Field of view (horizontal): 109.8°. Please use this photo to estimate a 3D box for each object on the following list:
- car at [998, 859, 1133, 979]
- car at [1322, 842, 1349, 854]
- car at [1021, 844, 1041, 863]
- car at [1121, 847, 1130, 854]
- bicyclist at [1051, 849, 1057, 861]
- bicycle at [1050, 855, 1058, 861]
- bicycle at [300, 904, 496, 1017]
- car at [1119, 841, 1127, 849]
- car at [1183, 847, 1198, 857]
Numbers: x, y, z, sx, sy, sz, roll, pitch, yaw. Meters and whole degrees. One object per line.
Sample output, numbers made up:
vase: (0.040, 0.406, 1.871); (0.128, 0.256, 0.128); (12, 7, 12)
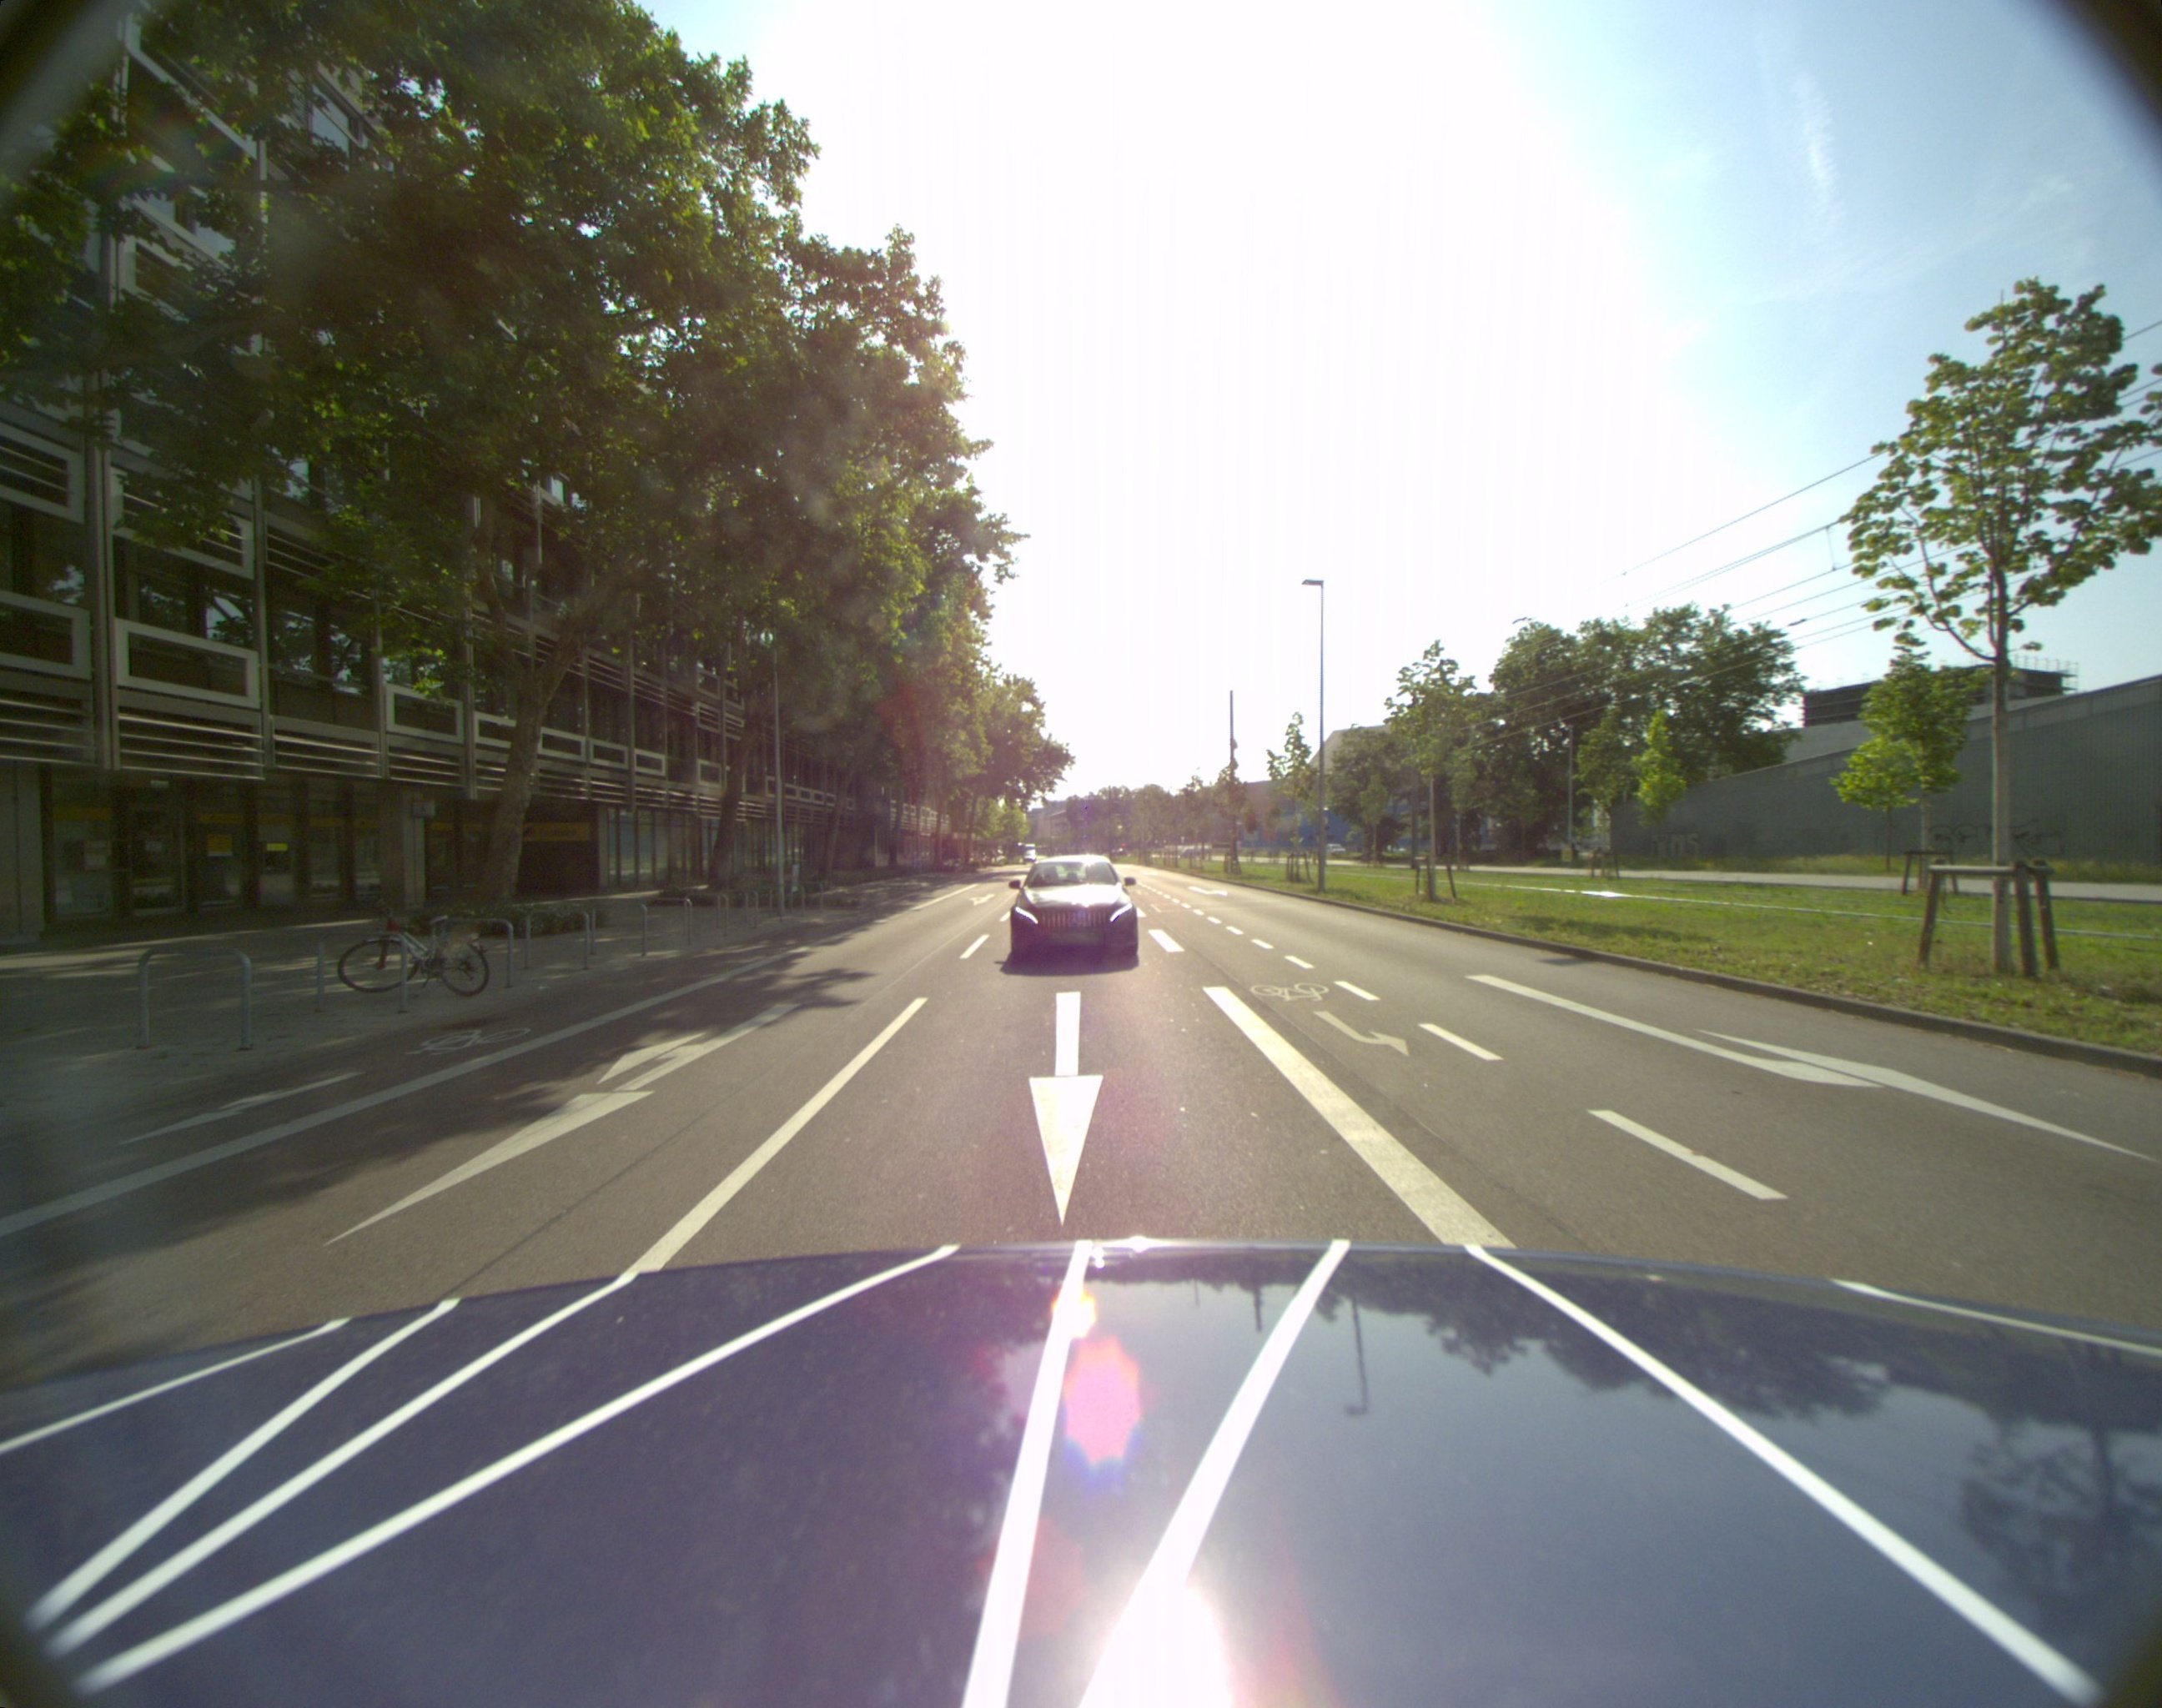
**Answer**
car: (-0.123, 0.856, 12.298); (1.716, 1.429, 5.057); (-1, 1, 2)
car: (38.704, -0.845, 115.644); (2.019, 1.758, 4.819); (-1, 1, -8)
car: (-5.752, -0.075, 87.674); (1.999, 2.002, 3.999); (-2, 1, -1)
car: (10.279, -0.885, 176.516); (1.756, 1.608, 4.334); (-1, 1, 0)
bicyclist: (-3.315, 0.120, 92.710); (0.612, 1.505, 0.813); (-1, 1, -10)
bicycle: (-3.287, 0.517, 92.569); (0.630, 0.702, 1.807); (-1, 0, -10)
bicycle: (-7.763, 1.188, 8.663); (1.831, 1.181, 0.537); (0, 1, 5)
car: (11.375, -2.428, 206.243); (1.756, 1.968, 3.771); (-1, 1, 0)
car: (17.034, -0.318, 118.085); (1.756, 1.608, 3.771); (-1, 1, 0)
